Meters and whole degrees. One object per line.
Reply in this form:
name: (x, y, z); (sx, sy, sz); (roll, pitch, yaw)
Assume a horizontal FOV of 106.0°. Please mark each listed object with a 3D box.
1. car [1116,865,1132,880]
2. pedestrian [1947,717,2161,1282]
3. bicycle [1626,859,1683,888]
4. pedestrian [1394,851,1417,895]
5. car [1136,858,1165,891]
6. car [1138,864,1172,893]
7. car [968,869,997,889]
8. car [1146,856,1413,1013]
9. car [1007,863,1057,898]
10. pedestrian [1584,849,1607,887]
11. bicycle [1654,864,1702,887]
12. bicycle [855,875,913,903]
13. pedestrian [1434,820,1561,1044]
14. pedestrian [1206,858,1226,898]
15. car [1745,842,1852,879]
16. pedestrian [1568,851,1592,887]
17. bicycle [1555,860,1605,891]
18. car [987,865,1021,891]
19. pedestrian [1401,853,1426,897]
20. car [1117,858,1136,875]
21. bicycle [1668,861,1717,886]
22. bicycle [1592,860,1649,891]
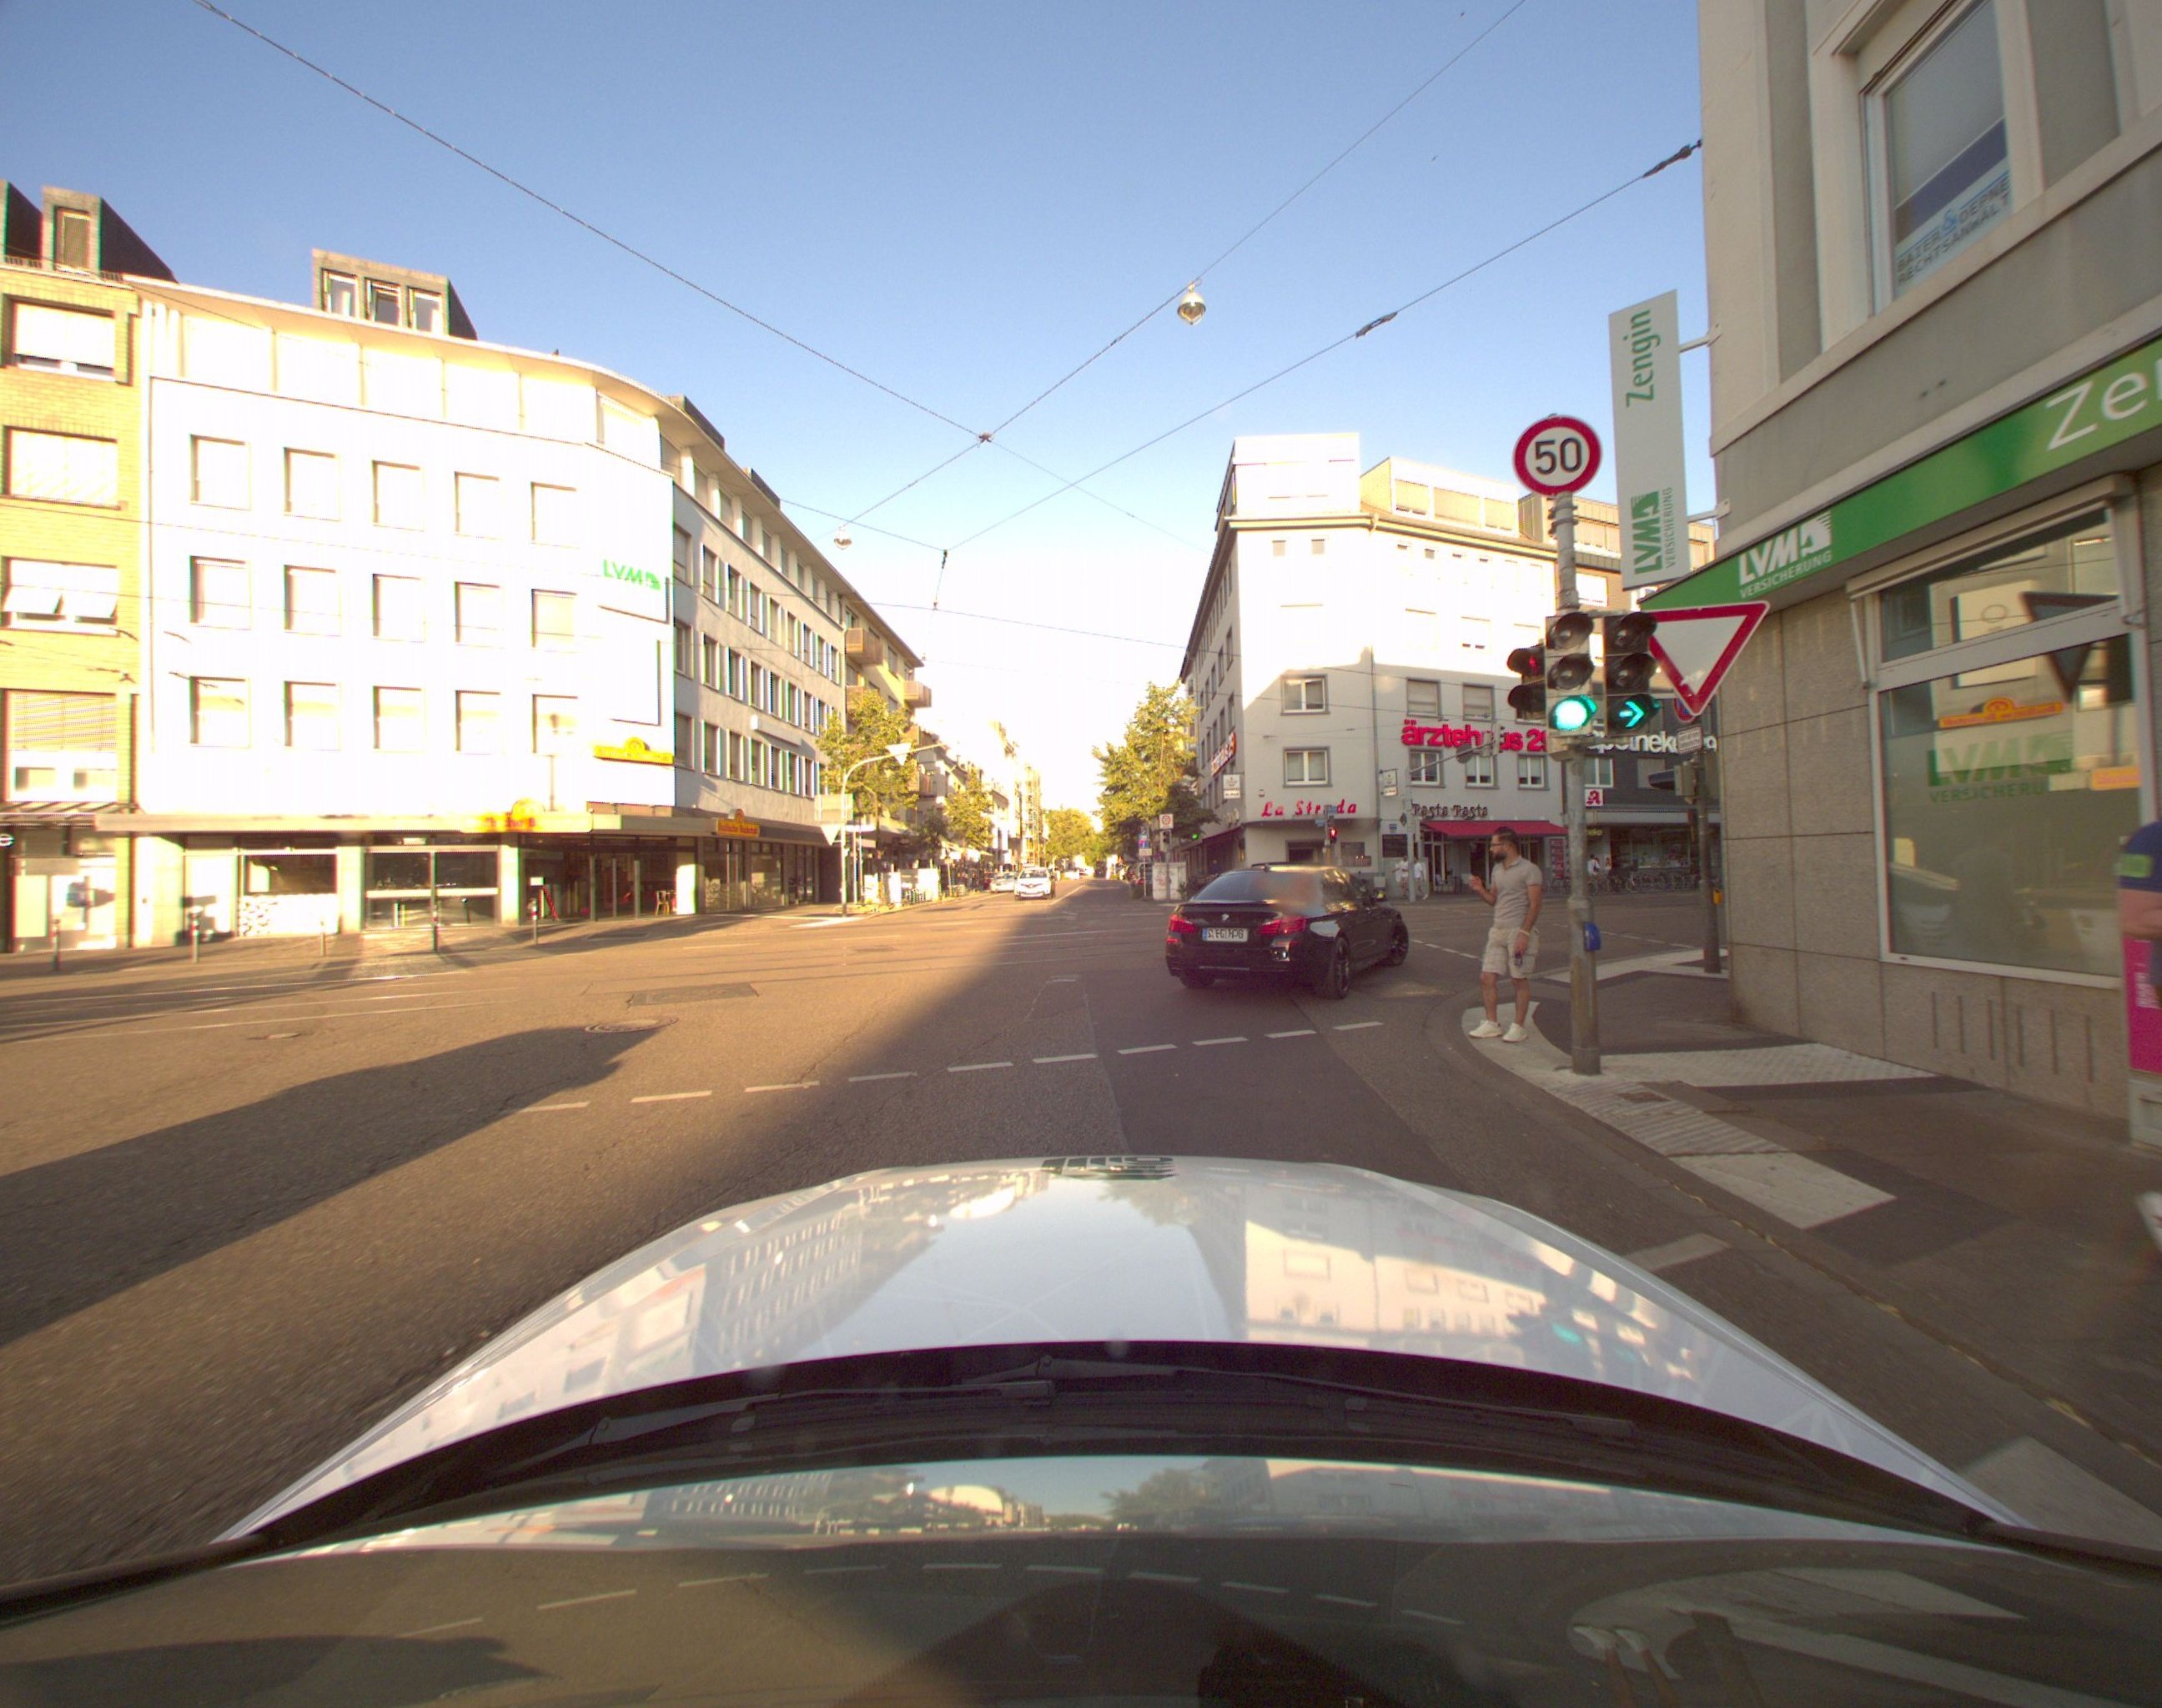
car: (5.639, 2.409, 106.554); (1.843, 1.794, 4.005); (-2, -1, 5)
pedestrian: (3.826, 0.467, 2.790); (0.688, 1.828, 0.881); (-2, -2, 3)
bicycle: (24.879, 0.857, 35.375); (0.553, 1.224, 2.104); (1, -1, -21)
pedestrian: (13.279, 0.763, 33.327); (0.598, 1.779, 0.637); (-1, -1, -7)
car: (4.214, 1.178, 49.207); (1.632, 1.873, 3.612); (2, 0, 5)
car: (3.860, 1.265, 42.604); (1.632, 1.444, 3.611); (-1, -1, 5)
car: (-8.197, 2.098, 67.908); (1.828, 1.556, 3.780); (-2, -2, 1)
car: (2.712, 0.787, 10.205); (1.935, 1.498, 4.493); (-1, -1, 32)
car: (-2.345, 1.283, 39.814); (2.101, 1.556, 4.012); (-2, -2, 1)
pedestrian: (23.481, 0.651, 37.194); (0.603, 1.699, 0.618); (-1, -1, -21)
bicycle: (27.193, 0.967, 37.103); (0.456, 0.912, 1.798); (-2, 2, -21)
bicycle: (-8.712, 1.550, 36.057); (2.361, 1.253, 0.639); (0, -2, -3)
pedestrian: (3.416, 0.616, 6.735); (0.649, 1.742, 0.694); (-1, -1, 1)
pedestrian: (5.684, 1.003, 34.353); (0.709, 1.676, 0.703); (-1, -1, 2)
car: (35.159, 0.303, 39.916); (4.645, 1.674, 1.924); (-1, 0, -19)
pedestrian: (23.284, 0.691, 37.998); (0.625, 1.661, 0.679); (-1, -1, -21)
bicycle: (21.306, 0.903, 34.780); (0.553, 1.211, 1.884); (-1, 1, -21)
car: (-5.174, 1.601, 55.203); (1.828, 1.556, 3.780); (-3, -1, 1)
pedestrian: (13.312, 0.831, 32.618); (0.666, 1.744, 0.637); (-1, -1, -6)
car: (4.832, 1.348, 86.137); (1.843, 1.794, 4.005); (0, -1, 5)
bicycle: (28.016, 0.899, 37.350); (0.489, 1.047, 1.824); (-2, 2, -21)
bicycle: (22.894, 0.905, 34.608); (0.553, 1.224, 2.104); (-1, 1, -21)
